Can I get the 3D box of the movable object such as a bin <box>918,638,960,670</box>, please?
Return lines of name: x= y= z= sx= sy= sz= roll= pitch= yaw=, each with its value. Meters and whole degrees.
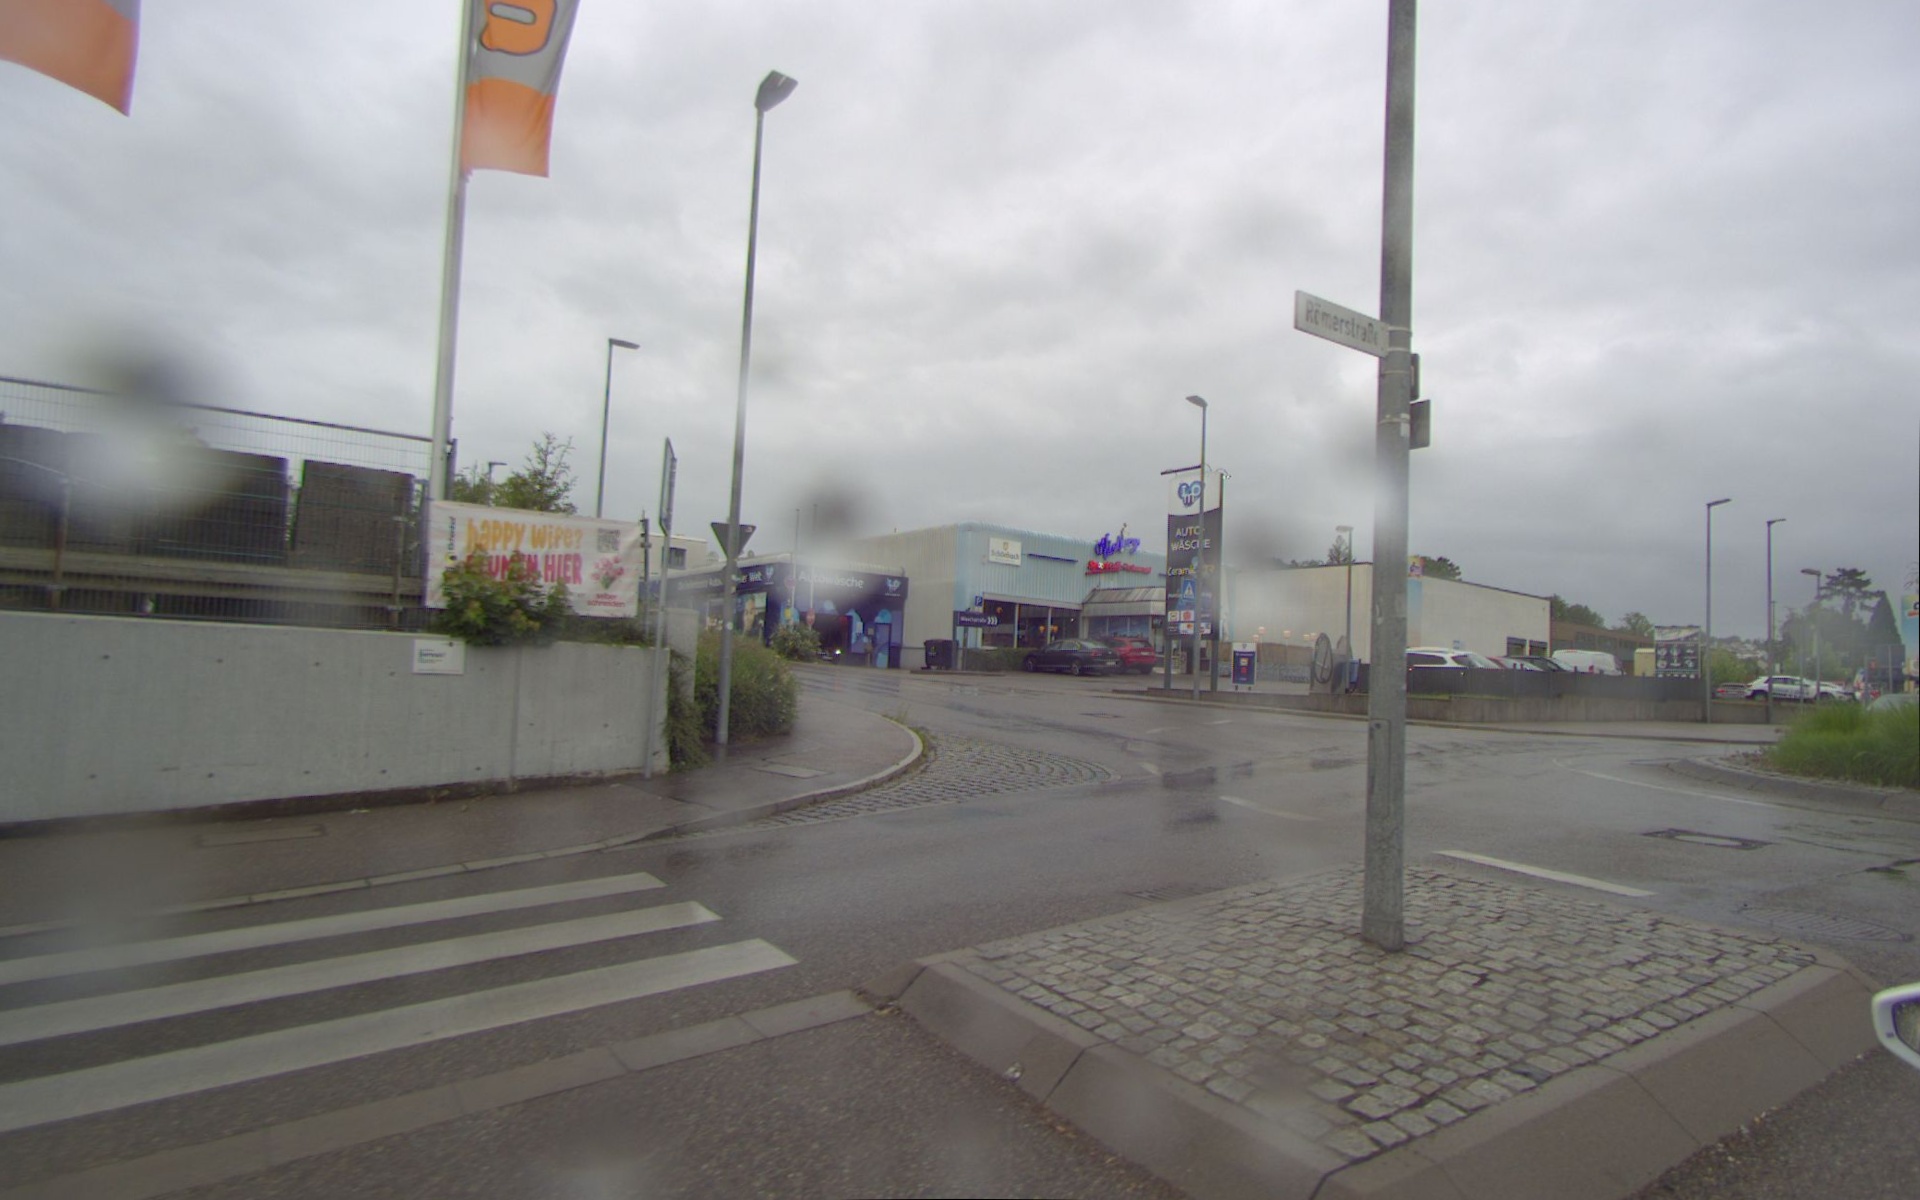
movable object such as a bin: x=-0.888 y=2.289 z=42.902 sx=1.203 sy=1.312 sz=1.464 roll=2 pitch=-2 yaw=-35

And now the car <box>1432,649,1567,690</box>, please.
car: x=19.700 y=2.505 z=36.829 sx=1.869 sy=1.312 sz=3.961 roll=2 pitch=-2 yaw=-35

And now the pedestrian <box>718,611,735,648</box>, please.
pedestrian: x=-9.555 y=1.203 z=41.028 sx=0.463 sy=1.483 sz=0.542 roll=2 pitch=0 yaw=-36

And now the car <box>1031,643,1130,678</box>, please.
car: x=4.882 y=2.452 z=41.075 sx=1.869 sy=1.312 sz=3.961 roll=2 pitch=-2 yaw=-35

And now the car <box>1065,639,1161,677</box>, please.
car: x=6.489 y=2.424 z=42.941 sx=1.869 sy=1.505 sz=3.961 roll=2 pitch=-2 yaw=-35

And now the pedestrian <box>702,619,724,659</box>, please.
pedestrian: x=-9.994 y=1.577 z=40.627 sx=0.599 sy=1.551 sz=0.767 roll=2 pitch=0 yaw=-36

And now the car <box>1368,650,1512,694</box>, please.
car: x=15.976 y=2.365 z=33.571 sx=1.869 sy=1.312 sz=3.961 roll=2 pitch=-2 yaw=-35

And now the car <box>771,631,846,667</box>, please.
car: x=-6.921 y=2.209 z=45.488 sx=1.901 sy=1.550 sz=3.965 roll=3 pitch=-3 yaw=-33

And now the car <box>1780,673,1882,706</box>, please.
car: x=47.092 y=4.836 z=54.373 sx=1.780 sy=1.572 sz=3.956 roll=5 pitch=-5 yaw=-38

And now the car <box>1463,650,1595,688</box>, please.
car: x=21.543 y=2.578 z=38.145 sx=1.869 sy=1.312 sz=3.961 roll=2 pitch=-2 yaw=-35

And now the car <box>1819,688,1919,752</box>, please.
car: x=24.120 y=2.957 z=24.465 sx=5.248 sy=1.400 sz=1.997 roll=3 pitch=-3 yaw=-10

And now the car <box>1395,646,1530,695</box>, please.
car: x=17.778 y=2.474 z=35.671 sx=1.780 sy=1.572 sz=3.956 roll=5 pitch=-5 yaw=-38

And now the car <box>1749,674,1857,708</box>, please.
car: x=42.972 y=4.627 z=51.248 sx=1.837 sy=1.572 sz=3.956 roll=5 pitch=-5 yaw=-38

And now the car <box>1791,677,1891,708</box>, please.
car: x=49.240 y=5.158 z=56.216 sx=1.780 sy=1.572 sz=3.956 roll=5 pitch=-5 yaw=-38

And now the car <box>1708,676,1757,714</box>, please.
car: x=47.828 y=5.829 z=62.167 sx=1.972 sy=2.040 sz=3.976 roll=2 pitch=0 yaw=44

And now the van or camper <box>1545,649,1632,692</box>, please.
van or camper: x=28.711 y=3.175 z=45.834 sx=4.339 sy=1.784 sz=1.869 roll=2 pitch=-2 yaw=-36

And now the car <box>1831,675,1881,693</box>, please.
car: x=101.983 y=9.560 z=114.375 sx=1.982 sy=1.673 sz=3.958 roll=2 pitch=0 yaw=-37

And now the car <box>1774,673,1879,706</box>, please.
car: x=45.657 y=4.715 z=53.004 sx=1.780 sy=1.572 sz=3.956 roll=5 pitch=-5 yaw=-38

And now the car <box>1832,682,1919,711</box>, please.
car: x=57.122 y=6.005 z=62.589 sx=1.780 sy=1.572 sz=3.956 roll=5 pitch=-5 yaw=-38
